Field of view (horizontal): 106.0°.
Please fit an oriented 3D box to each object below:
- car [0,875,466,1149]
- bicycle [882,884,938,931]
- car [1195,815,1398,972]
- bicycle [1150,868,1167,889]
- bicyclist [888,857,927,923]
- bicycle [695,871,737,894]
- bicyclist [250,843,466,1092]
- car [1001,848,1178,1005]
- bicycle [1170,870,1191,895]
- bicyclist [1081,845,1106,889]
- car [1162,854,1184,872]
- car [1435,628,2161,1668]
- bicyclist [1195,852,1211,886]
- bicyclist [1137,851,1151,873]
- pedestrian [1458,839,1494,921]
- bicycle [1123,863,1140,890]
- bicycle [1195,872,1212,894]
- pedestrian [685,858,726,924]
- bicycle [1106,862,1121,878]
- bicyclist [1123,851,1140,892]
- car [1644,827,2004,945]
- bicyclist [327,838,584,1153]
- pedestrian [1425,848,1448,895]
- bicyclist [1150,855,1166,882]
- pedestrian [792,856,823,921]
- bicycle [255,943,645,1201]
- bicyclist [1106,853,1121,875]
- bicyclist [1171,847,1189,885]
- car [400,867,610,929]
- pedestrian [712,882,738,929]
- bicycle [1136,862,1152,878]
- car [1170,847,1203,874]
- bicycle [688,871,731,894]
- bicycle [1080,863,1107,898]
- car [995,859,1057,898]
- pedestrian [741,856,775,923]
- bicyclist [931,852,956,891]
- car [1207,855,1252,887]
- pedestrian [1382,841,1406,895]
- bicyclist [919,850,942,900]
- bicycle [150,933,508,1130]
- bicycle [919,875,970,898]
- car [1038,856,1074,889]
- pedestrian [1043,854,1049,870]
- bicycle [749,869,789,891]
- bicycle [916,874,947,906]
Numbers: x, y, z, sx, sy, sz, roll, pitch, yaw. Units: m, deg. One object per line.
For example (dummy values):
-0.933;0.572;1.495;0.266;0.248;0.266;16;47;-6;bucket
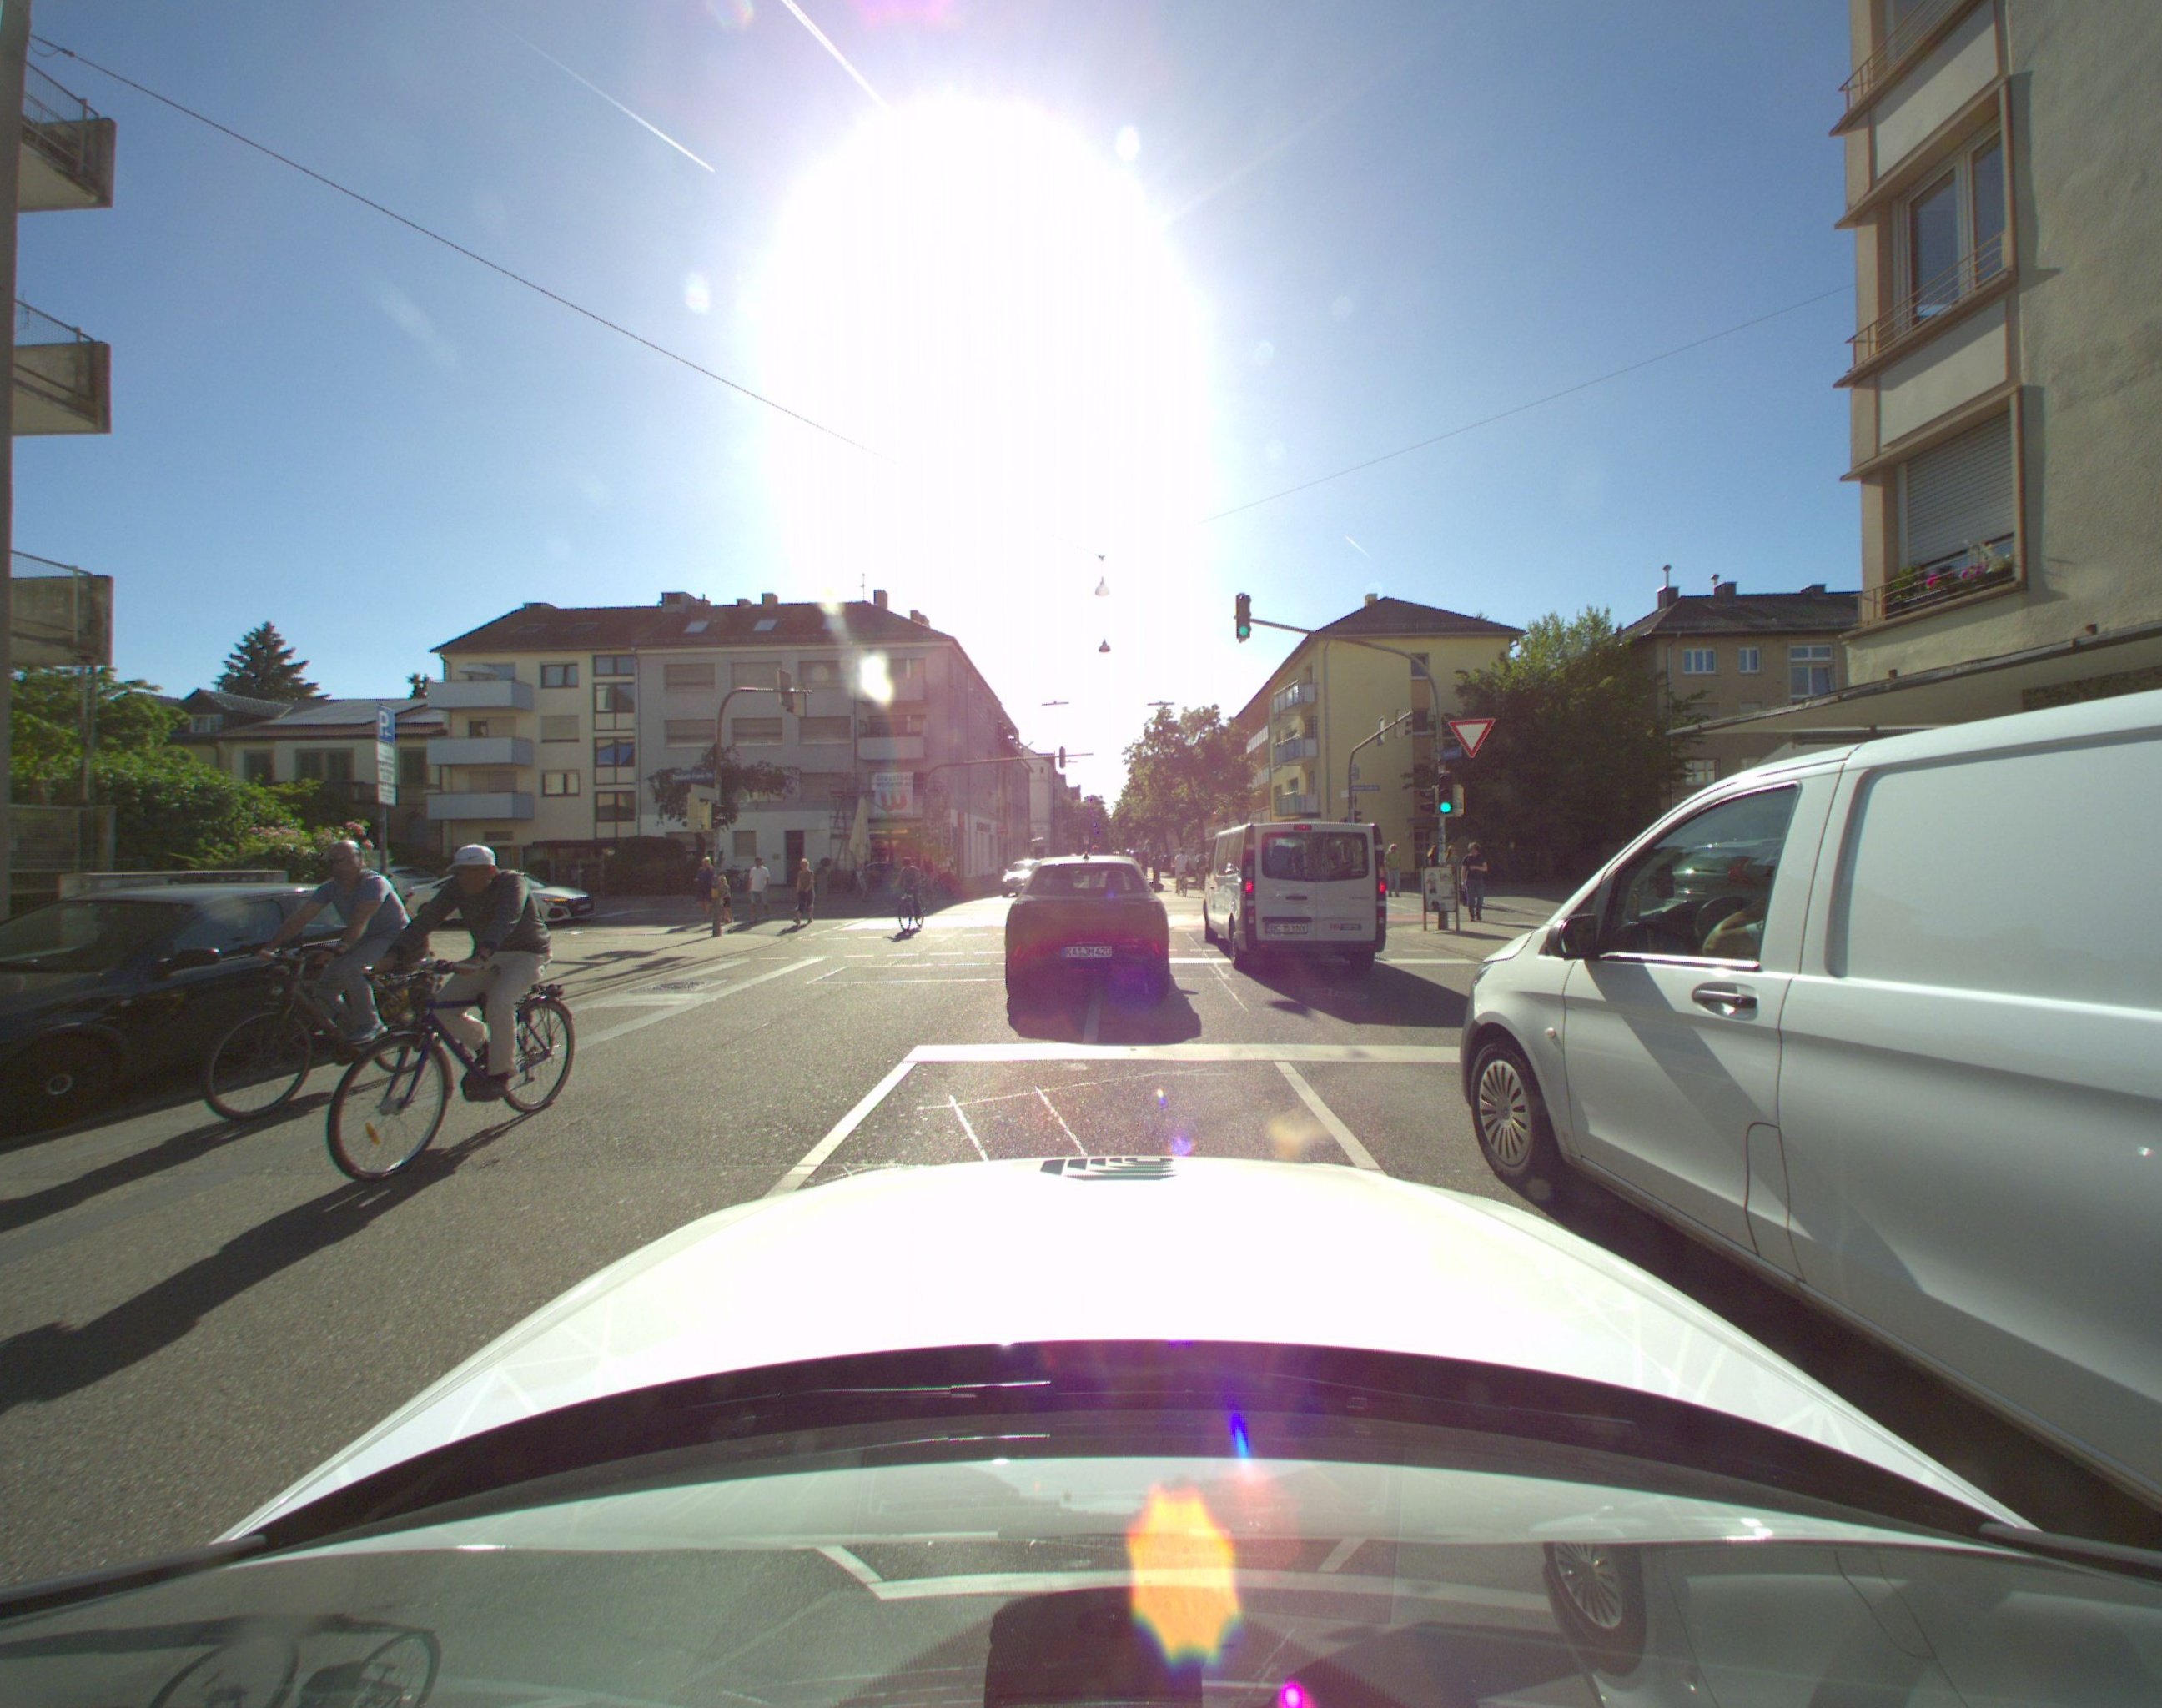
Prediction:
-6.998;0.947;6.162;1.685;1.448;3.856;1;0;0;car
-3.769;1.159;18.066;0.539;0.902;1.831;-1;0;11;bicycle
3.033;0.501;12.642;1.961;1.940;5.057;0;0;2;car
3.484;1.096;36.660;0.688;0.866;1.878;-1;0;3;bicycle
-3.804;0.778;17.872;0.539;1.391;0.791;-1;0;10;bicyclist
-15.680;1.203;34.982;1.582;0.940;0.513;-1;0;3;bicycle
-5.157;0.755;5.875;0.677;1.630;0.899;-3;0;2;bicyclist
0.148;0.742;10.213;1.756;1.558;4.001;-1;0;2;car
3.694;1.042;30.319;0.617;0.866;1.878;-1;0;3;bicycle
0.465;0.481;31.379;0.800;1.649;1.123;-1;0;-6;bicyclist
8.045;0.768;71.333;1.706;1.483;3.383;-1;0;2;car
2.859;0.503;1.932;1.961;1.810;4.833;-1;0;1;car
5.085;0.629;33.949;0.544;1.382;0.823;-1;0;3;bicyclist
3.950;0.501;51.130;0.853;1.314;1.211;1;0;1;bicyclist
8.903;0.579;18.366;0.599;1.822;0.631;-1;0;15;pedestrian
2.092;0.921;33.959;0.630;1.041;1.796;-2;0;2;bicycle
5.086;1.188;33.895;0.544;0.866;1.878;-1;0;3;bicycle
-9.859;0.946;21.412;0.570;1.683;0.969;-1;0;3;pedestrian
1.940;0.946;48.646;0.853;0.945;2.308;1;0;2;bicycle
2.089;0.729;33.836;0.630;1.669;1.051;-2;0;1;bicyclist
11.516;0.477;12.858;3.972;1.662;1.826;-1;0;2;car
-3.465;0.720;4.601;0.677;1.576;0.899;-3;0;2;bicyclist
12.095;0.588;27.736;0.537;1.571;0.539;-1;0;1;pedestrian
3.482;0.641;36.804;0.689;1.193;0.595;-1;0;3;bicyclist
-6.795;0.839;20.227;0.529;1.581;0.563;-1;0;5;pedestrian
-3.442;1.115;4.736;0.677;0.952;1.934;-3;0;2;bicycle
1.950;0.580;48.625;0.853;1.314;1.211;1;0;1;bicyclist
3.682;0.441;30.352;0.586;1.382;0.823;-1;0;3;bicyclist
-15.396;1.157;21.931;4.236;1.435;1.936;-1;3;2;car
-9.093;1.309;20.800;0.384;1.146;0.532;-1;0;4;pedestrian
3.939;0.963;51.134;0.853;0.945;2.308;1;0;2;bicycle
7.583;0.455;58.856;2.037;1.846;4.588;-1;0;3;car
-15.654;1.198;34.349;1.582;0.940;0.513;-1;0;3;bicycle
0.464;0.997;31.522;0.800;1.255;2.134;-1;0;-6;bicycle
-2.188;0.978;33.594;1.828;1.433;4.184;-1;0;6;car
-8.270;0.890;20.860;0.571;1.689;0.670;-1;0;2;pedestrian
-5.526;0.691;32.801;0.548;1.549;0.819;-1;-1;42;bicyclist
7.316;0.792;40.493;1.706;1.483;3.482;-1;0;2;car
10.432;0.465;27.157;0.524;1.762;0.623;-1;0;0;pedestrian
-4.659;0.650;25.221;0.540;1.520;0.774;-1;0;2;bicyclist
-5.151;1.151;5.805;0.677;0.952;1.934;-3;0;2;bicycle
-5.492;1.300;32.836;0.548;0.833;2.144;-1;0;41;bicycle
-1.256;0.952;42.367;1.586;1.566;4.090;-2;-1;2;car
-3.616;0.844;84.584;0.575;1.583;0.707;-1;0;-4;pedestrian
-14.084;1.152;36.731;1.582;0.940;0.513;-1;0;3;bicycle
-4.643;1.100;25.381;0.540;0.902;1.827;-1;0;2;bicycle
